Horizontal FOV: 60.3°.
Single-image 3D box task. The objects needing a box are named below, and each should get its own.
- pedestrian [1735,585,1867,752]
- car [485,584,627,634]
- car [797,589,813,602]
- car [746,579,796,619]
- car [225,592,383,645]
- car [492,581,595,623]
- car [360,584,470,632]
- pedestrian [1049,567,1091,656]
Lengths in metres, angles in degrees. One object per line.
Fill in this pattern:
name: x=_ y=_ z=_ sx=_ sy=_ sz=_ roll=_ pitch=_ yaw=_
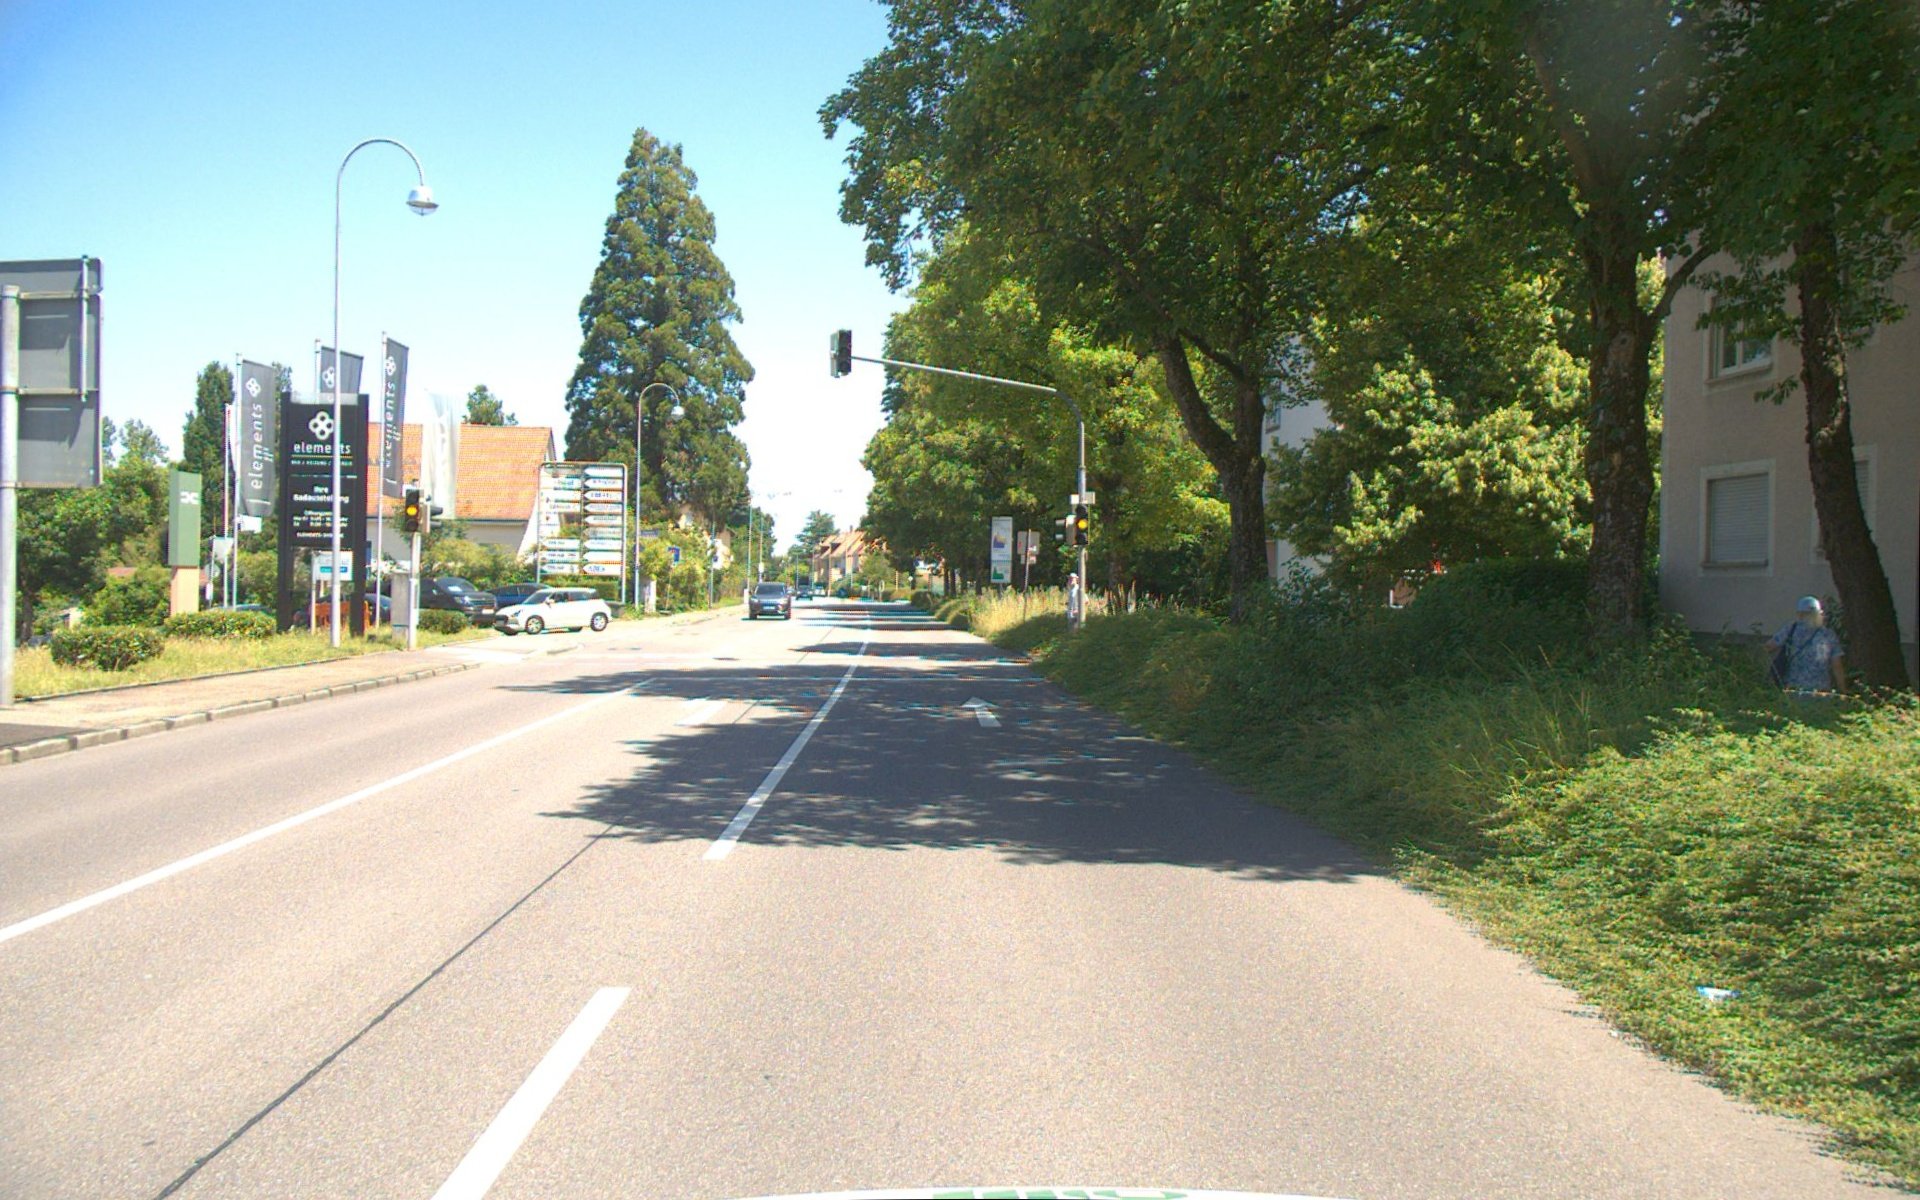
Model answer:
pedestrian: x=7.108 y=0.561 z=14.009 sx=0.648 sy=1.358 sz=0.889 roll=1 pitch=0 yaw=-1
car: x=-13.436 y=0.265 z=55.165 sx=1.965 sy=1.513 sz=4.282 roll=1 pitch=2 yaw=43
car: x=-16.431 y=-0.452 z=175.556 sx=1.402 sy=1.345 sz=3.354 roll=1 pitch=0 yaw=-1
car: x=-8.560 y=-0.064 z=75.206 sx=1.841 sy=1.747 sz=4.309 roll=1 pitch=0 yaw=-2
car: x=-20.417 y=0.585 z=51.538 sx=4.201 sy=1.553 sz=1.930 roll=-1 pitch=0 yaw=12
car: x=-15.321 y=0.068 z=60.966 sx=3.422 sy=1.452 sz=1.599 roll=1 pitch=0 yaw=-5
car: x=-19.076 y=0.263 z=57.984 sx=3.425 sy=1.645 sz=1.598 roll=0 pitch=0 yaw=-8
pedestrian: x=2.236 y=0.226 z=33.584 sx=0.604 sy=1.781 sz=0.558 roll=0 pitch=-1 yaw=43
